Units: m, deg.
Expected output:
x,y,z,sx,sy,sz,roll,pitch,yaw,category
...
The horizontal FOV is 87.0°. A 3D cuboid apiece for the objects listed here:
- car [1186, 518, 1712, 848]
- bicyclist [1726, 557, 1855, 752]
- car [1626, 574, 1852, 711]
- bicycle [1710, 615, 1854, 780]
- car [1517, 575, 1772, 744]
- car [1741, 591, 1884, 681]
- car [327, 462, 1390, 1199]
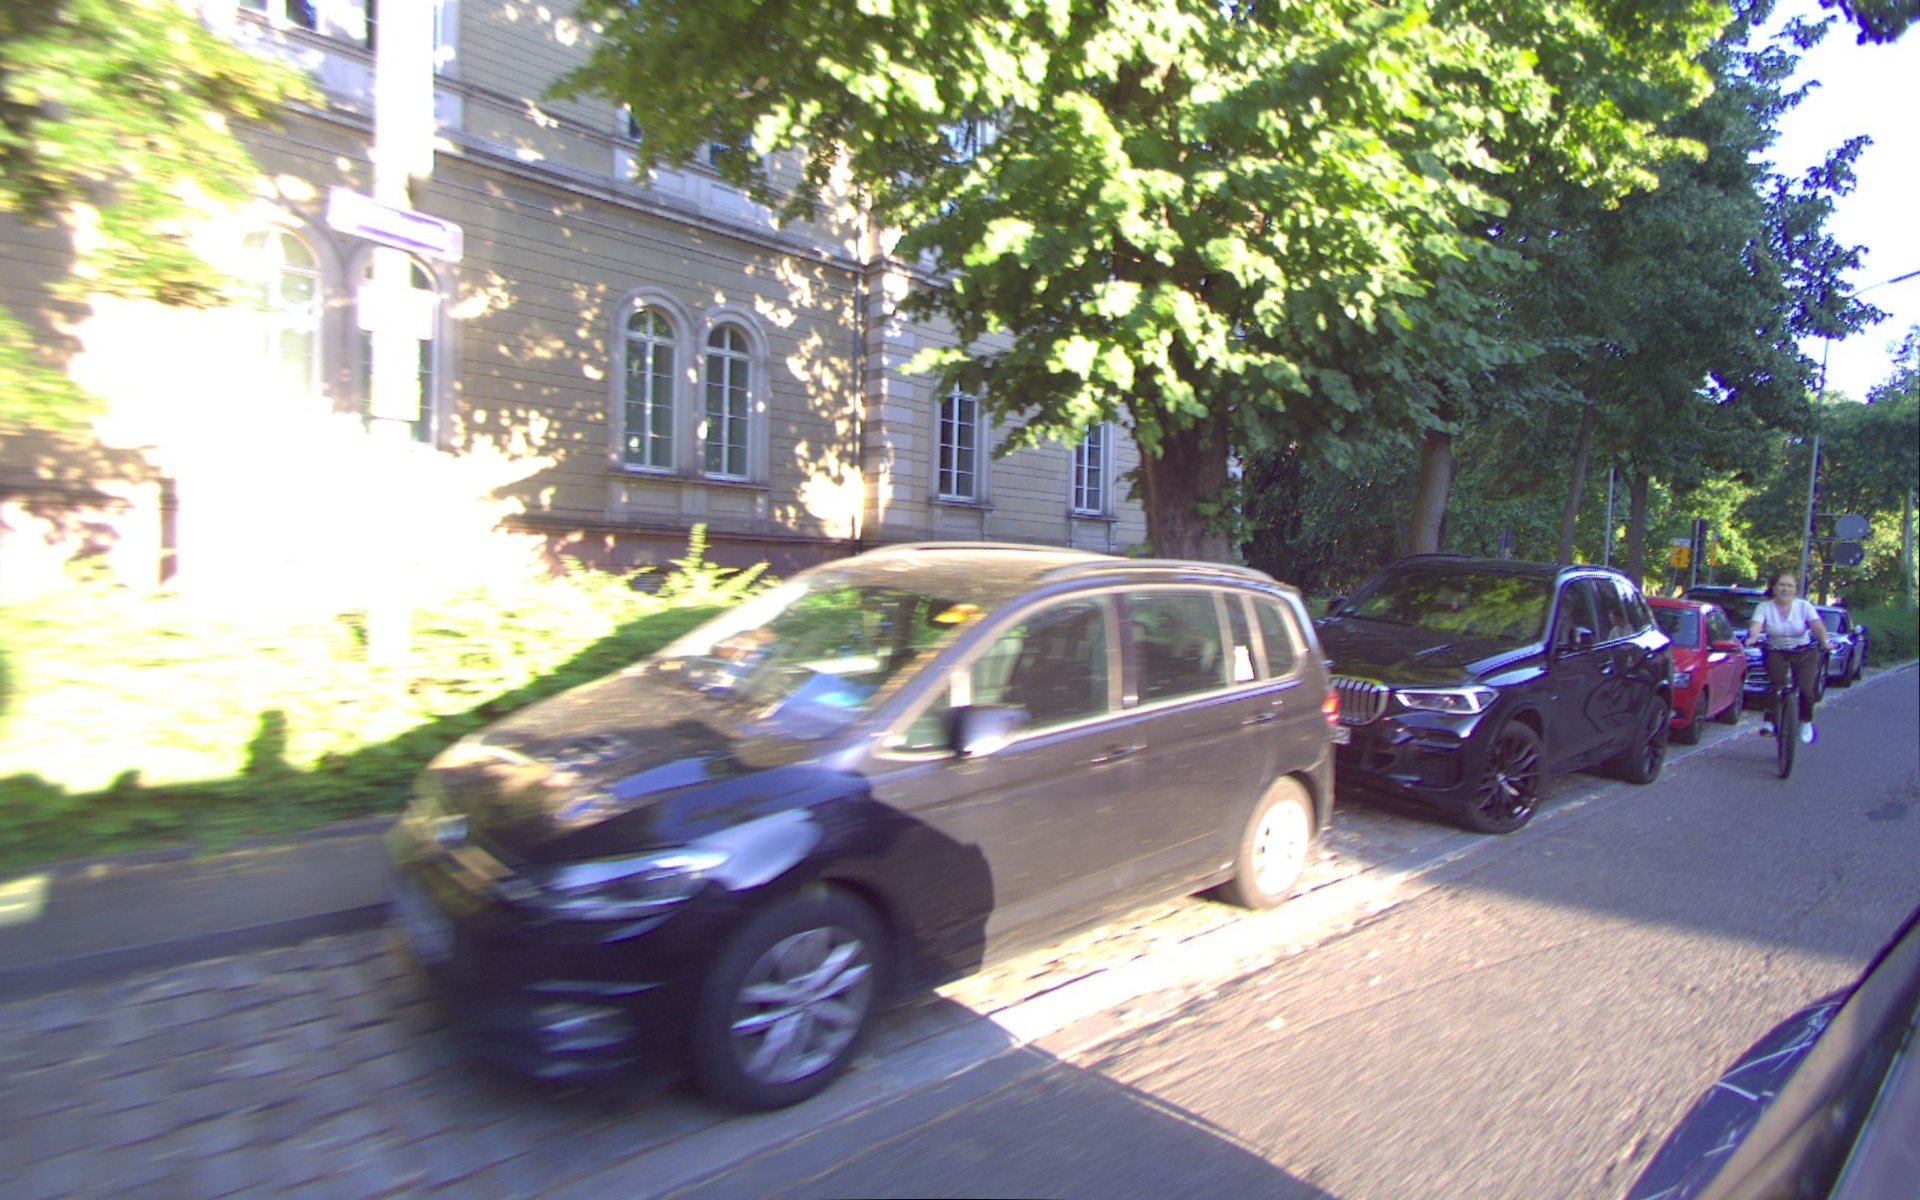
x,y,z,sx,sy,sz,roll,pitch,yaw,category
4.018,0.398,7.868,4.859,1.835,1.809,-1,3,-40,car
7.497,0.448,9.133,1.021,1.633,0.752,1,1,-45,bicyclist
11.777,0.494,15.180,4.615,1.708,1.884,-1,3,-42,car
7.457,0.797,9.141,2.174,1.268,0.752,1,2,-45,bicycle
8.104,0.534,11.845,3.905,1.608,1.725,-1,3,-45,car
16.431,0.612,19.442,3.935,1.456,1.725,-1,3,-45,car
0.002,0.485,4.368,4.423,1.703,1.726,-1,3,-43,car
